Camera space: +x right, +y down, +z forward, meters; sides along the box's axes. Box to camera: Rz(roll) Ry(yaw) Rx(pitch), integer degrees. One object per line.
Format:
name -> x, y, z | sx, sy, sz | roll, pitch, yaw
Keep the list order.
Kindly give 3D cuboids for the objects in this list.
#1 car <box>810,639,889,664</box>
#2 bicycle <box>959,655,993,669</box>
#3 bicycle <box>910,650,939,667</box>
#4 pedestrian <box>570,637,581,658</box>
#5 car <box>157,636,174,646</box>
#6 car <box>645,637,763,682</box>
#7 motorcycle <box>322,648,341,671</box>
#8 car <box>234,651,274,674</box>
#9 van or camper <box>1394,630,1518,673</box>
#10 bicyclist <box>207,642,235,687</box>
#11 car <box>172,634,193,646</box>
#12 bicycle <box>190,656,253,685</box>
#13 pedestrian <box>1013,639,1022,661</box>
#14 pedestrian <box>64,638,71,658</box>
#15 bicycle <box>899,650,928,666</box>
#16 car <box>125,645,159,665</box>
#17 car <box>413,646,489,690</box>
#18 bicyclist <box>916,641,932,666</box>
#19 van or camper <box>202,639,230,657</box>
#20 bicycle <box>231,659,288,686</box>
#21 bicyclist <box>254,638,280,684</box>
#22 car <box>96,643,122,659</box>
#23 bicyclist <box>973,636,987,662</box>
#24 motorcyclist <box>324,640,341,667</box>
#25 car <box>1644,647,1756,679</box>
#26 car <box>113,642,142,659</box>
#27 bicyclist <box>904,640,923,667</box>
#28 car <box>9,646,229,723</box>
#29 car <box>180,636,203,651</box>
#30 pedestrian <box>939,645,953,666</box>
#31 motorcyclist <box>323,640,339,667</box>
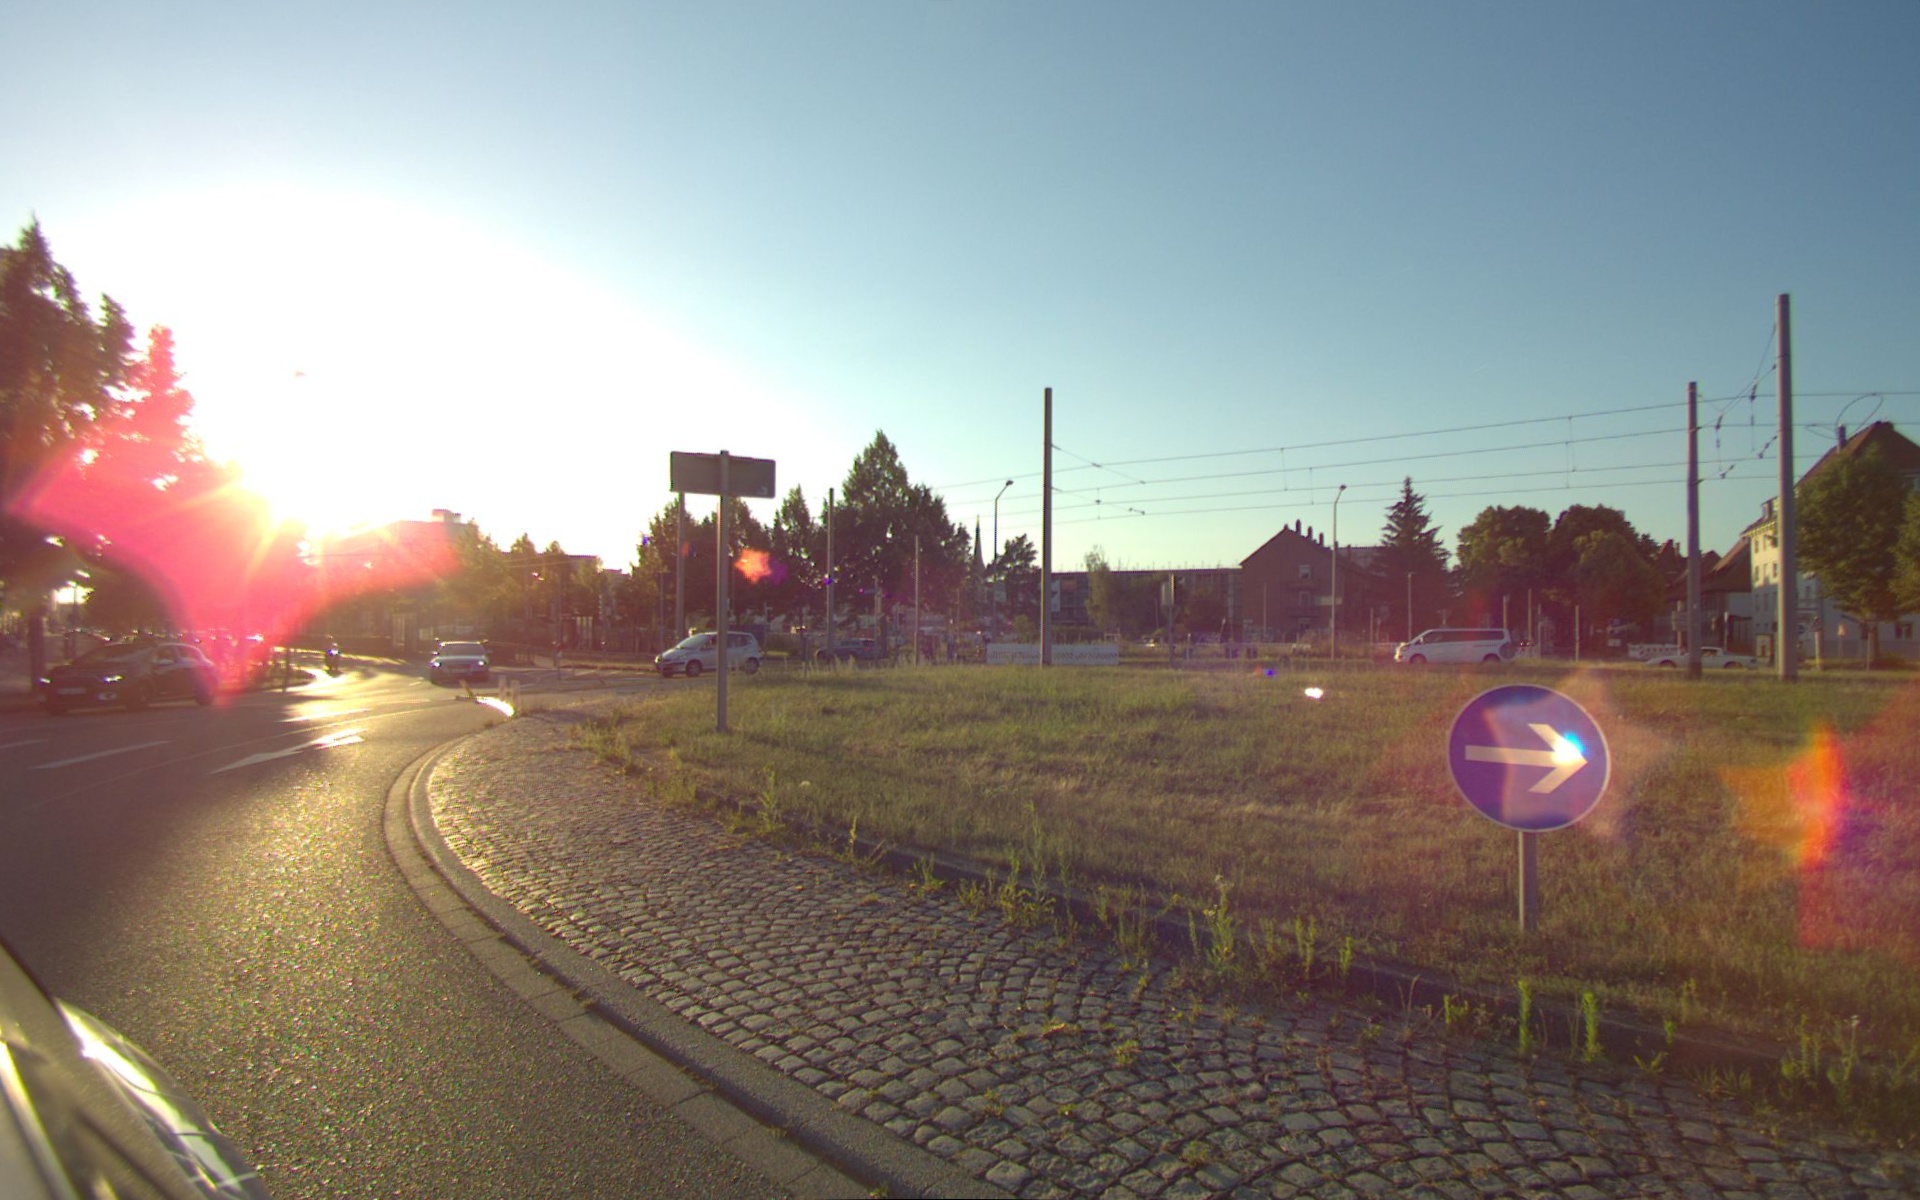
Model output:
car -> -6.667, 3.088, 60.873 | 4.640, 1.426, 1.909 | -2, -3, 35
bicycle -> 1.003, 3.855, 63.346 | 2.110, 0.852, 0.511 | -1, -3, 8
bicycle -> -2.142, 3.558, 61.794 | 1.814, 0.988, 0.538 | 2, -3, -39
pedestrian -> -30.019, 3.682, 79.075 | 0.698, 1.645, 0.447 | 2, -3, -44
car -> -121.377, 6.284, 154.634 | 1.775, 1.475, 4.005 | 2, -3, -42
car -> -8.743, 2.005, 34.779 | 1.606, 1.477, 3.660 | -3, -3, 41
motorcycle -> -33.027, 3.120, 53.173 | 0.549, 1.109, 2.163 | 2, -2, -40
car -> -50.735, 4.474, 72.691 | 1.863, 1.492, 4.056 | 2, -2, -42
van or camper -> 24.523, 2.563, 50.295 | 5.262, 2.025, 1.902 | -2, -3, 20
bicyclist -> -27.374, 2.382, 37.494 | 0.683, 1.661, 0.675 | -2, -3, 39
car -> -108.381, 5.570, 141.037 | 1.866, 1.635, 4.002 | 2, -3, -44
bicycle -> -27.341, 2.608, 37.503 | 0.307, 1.030, 1.839 | -2, -3, 38
pedestrian -> 3.690, 3.231, 65.226 | 0.499, 1.377, 0.431 | -1, -3, 17
pedestrian -> -89.300, 4.774, 101.249 | 0.530, 2.029, 0.528 | 2, -3, -42
bicycle -> -2.855, 3.565, 62.505 | 1.814, 0.988, 0.551 | 2, -3, -39
car -> -62.326, 4.200, 77.108 | 1.775, 1.475, 4.005 | 2, -3, -42
car -> -17.984, 2.342, 35.681 | 1.773, 1.434, 4.460 | 1, -3, -35
bicyclist -> -2.215, 3.236, 61.757 | 0.802, 1.517, 0.594 | 2, -3, -39
van or camper -> -81.859, 5.246, 111.319 | 1.969, 1.972, 5.334 | 2, -2, -42
bicycle -> -27.664, 2.852, 39.996 | 1.832, 1.030, 0.439 | 1, -3, -35
bicyclist -> -27.315, 2.391, 39.887 | 0.835, 1.769, 0.806 | 1, -3, -35
car -> -84.668, 5.053, 100.676 | 1.775, 1.475, 4.005 | 2, -3, -42
bicyclist -> 1.262, 3.055, 63.215 | 0.789, 1.646, 0.694 | -1, -3, 7
motorcyclist -> -32.778, 2.782, 52.880 | 0.626, 1.427, 0.716 | 2, -2, -40
car -> 31.412, 2.660, 43.058 | 3.774, 1.265, 1.560 | -2, -2, 37
car -> -73.066, 4.414, 88.788 | 1.775, 1.475, 4.005 | 2, -3, -42
bicyclist -> -2.870, 3.302, 62.516 | 0.802, 1.653, 0.816 | 2, -3, -39
car -> -17.865, 1.737, 21.777 | 1.774, 1.475, 4.007 | 0, -2, -8
car -> -97.455, 5.479, 128.317 | 4.002, 1.852, 1.694 | -2, -3, 45
pedestrian -> -0.917, 3.548, 64.681 | 0.609, 1.377, 0.696 | 2, -3, -39
motorcyclist -> -33.195, 2.804, 53.385 | 0.626, 1.419, 0.595 | 2, -3, -40
